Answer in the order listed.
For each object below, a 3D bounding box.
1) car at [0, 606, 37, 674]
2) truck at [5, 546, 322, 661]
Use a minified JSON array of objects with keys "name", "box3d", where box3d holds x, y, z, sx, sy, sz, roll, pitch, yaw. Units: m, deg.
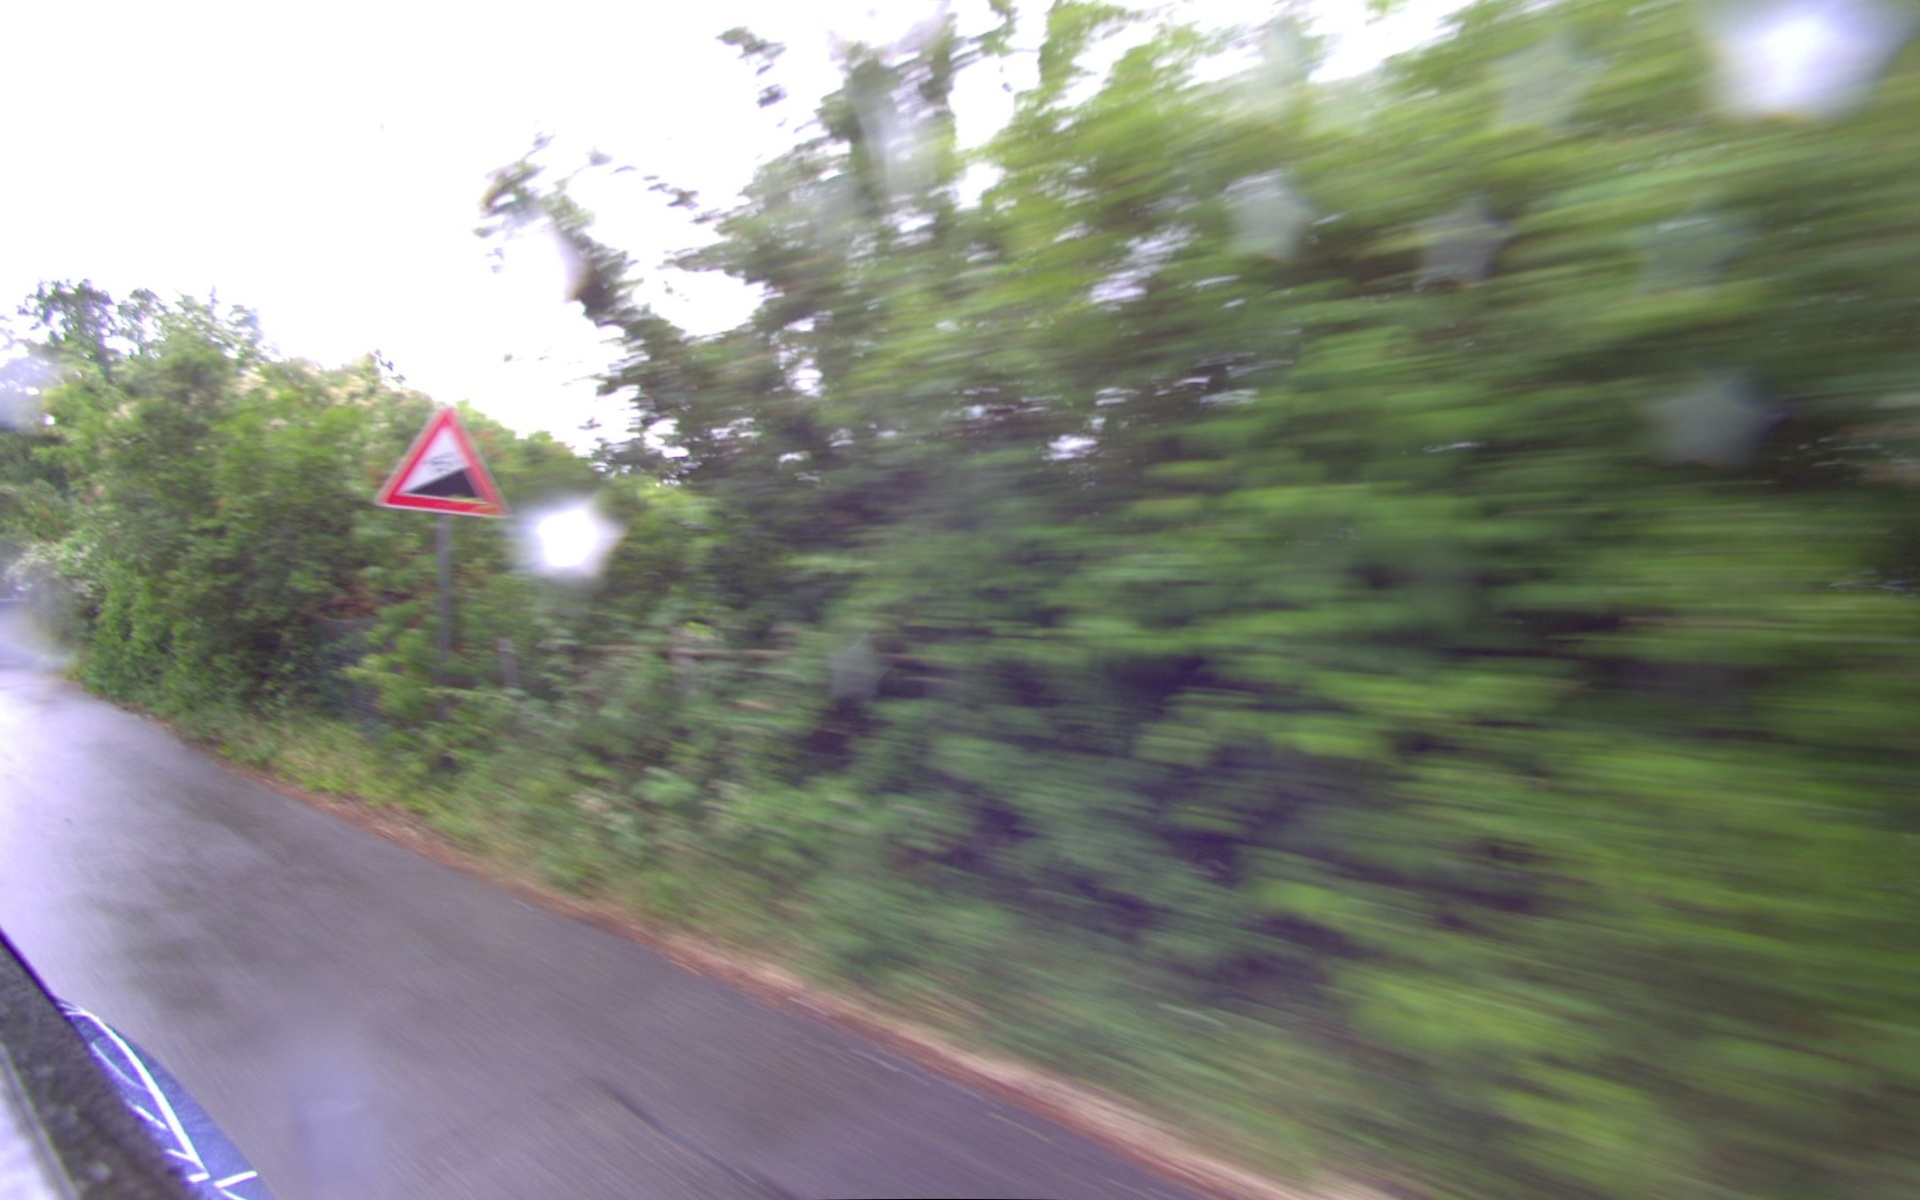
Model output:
[{"name":"car","box3d":[-26.017,1.046,26.933,4.066,1.740,1.668,-1,-3,41]},{"name":"truck","box3d":[-28.787,0.097,36.878,9.116,3.743,2.769,-2,0,-3]}]
